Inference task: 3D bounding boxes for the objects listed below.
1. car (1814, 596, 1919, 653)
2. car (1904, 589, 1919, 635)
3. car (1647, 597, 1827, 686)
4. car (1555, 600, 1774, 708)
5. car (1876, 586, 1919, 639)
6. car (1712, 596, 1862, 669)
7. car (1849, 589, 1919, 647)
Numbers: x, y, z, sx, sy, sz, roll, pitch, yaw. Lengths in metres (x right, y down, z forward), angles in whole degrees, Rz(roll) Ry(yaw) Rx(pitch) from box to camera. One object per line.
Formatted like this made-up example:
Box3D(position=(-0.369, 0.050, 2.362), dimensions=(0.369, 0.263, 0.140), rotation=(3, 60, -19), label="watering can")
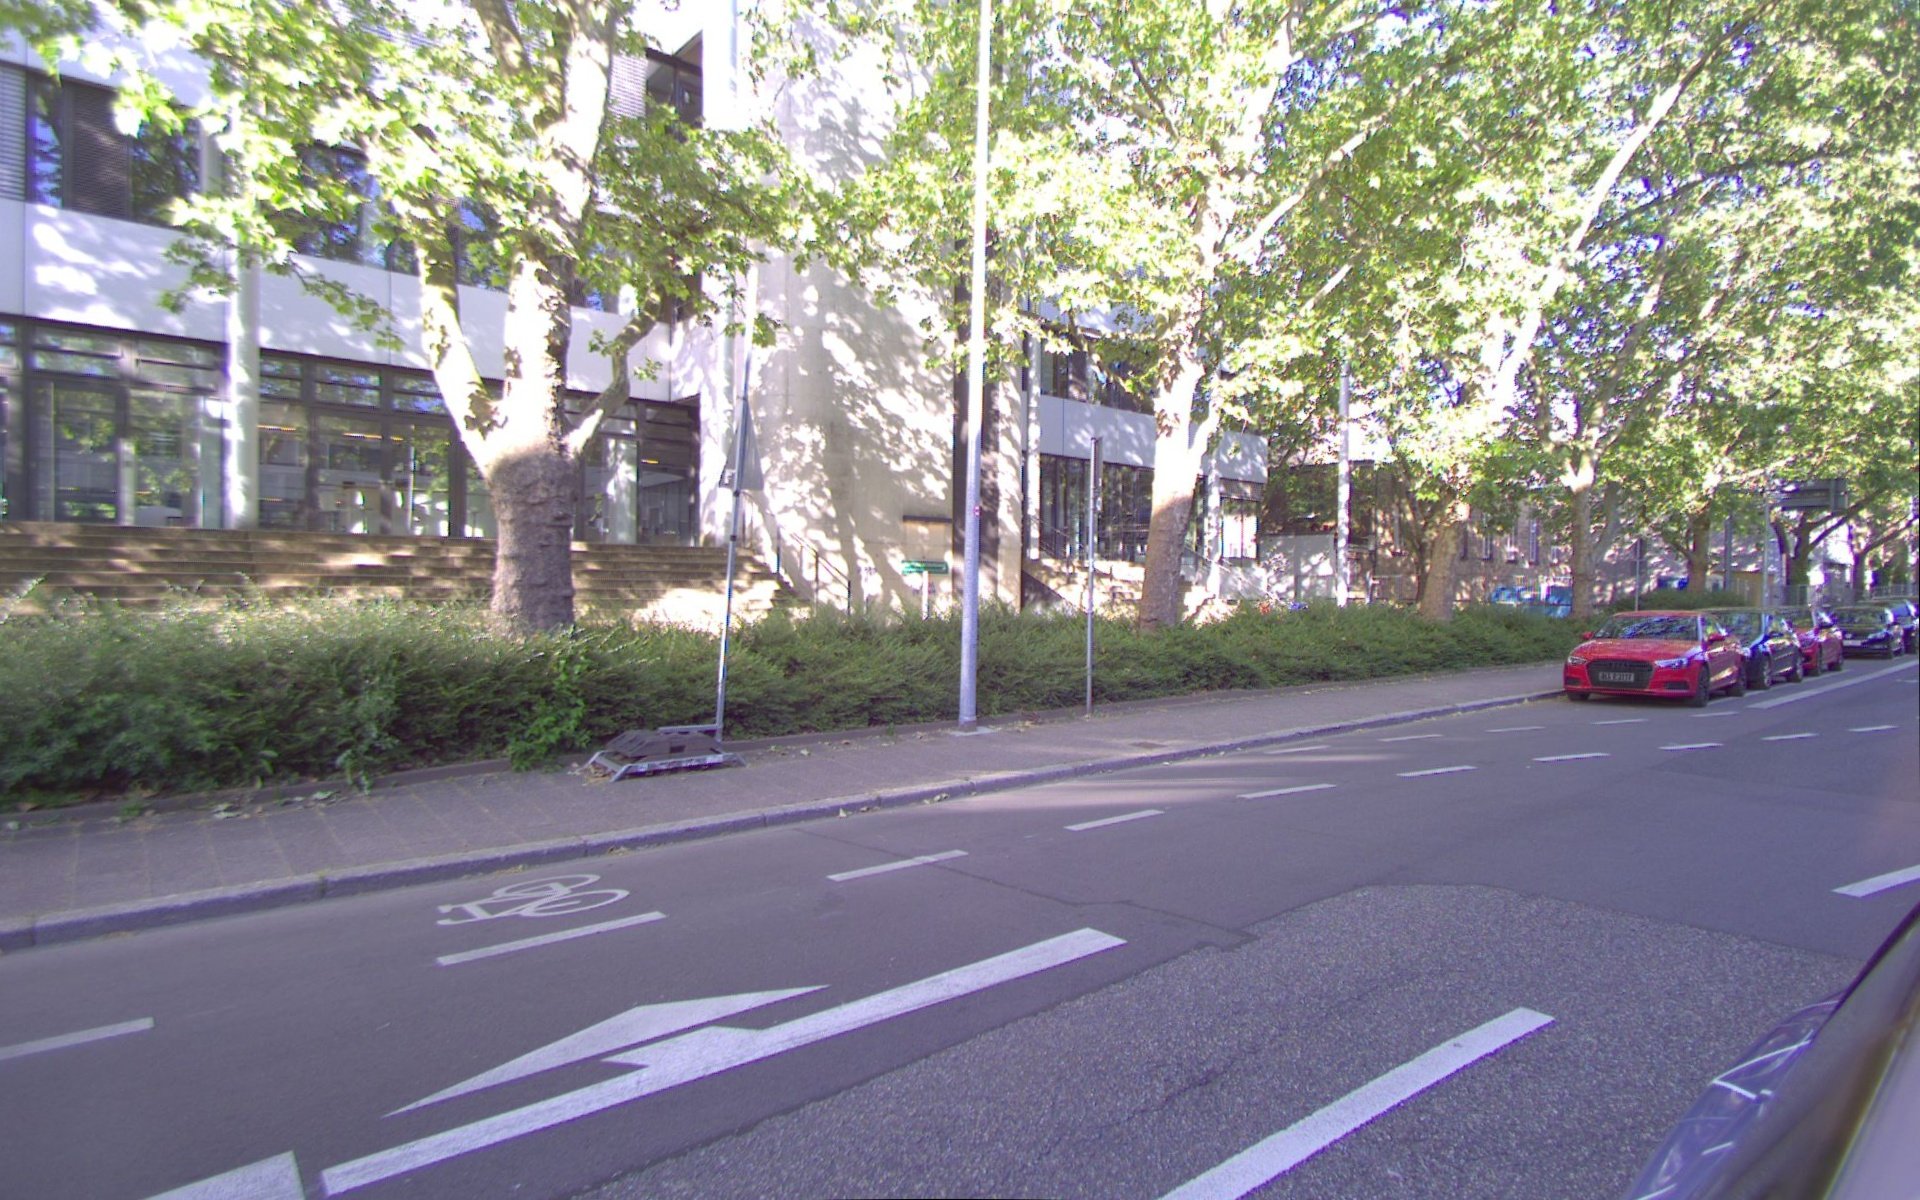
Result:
Box3D(position=(25.783, 0.625, 28.608), dimensions=(4.403, 1.469, 1.865), rotation=(0, 0, -41), label="car")
Box3D(position=(38.866, 0.448, 39.964), dimensions=(4.403, 1.781, 1.865), rotation=(0, 0, -41), label="car")
Box3D(position=(14.759, 0.696, 19.137), dimensions=(4.403, 1.469, 1.865), rotation=(0, 0, -41), label="car")
Box3D(position=(11.312, 0.742, 16.136), dimensions=(4.403, 1.469, 1.865), rotation=(0, 0, -41), label="car")
Box3D(position=(33.900, 0.399, 35.694), dimensions=(4.403, 1.781, 1.865), rotation=(0, 0, -41), label="car")
Box3D(position=(18.427, 0.640, 22.474), dimensions=(4.403, 1.469, 1.865), rotation=(0, 0, -41), label="car")
Box3D(position=(29.562, 0.518, 31.803), dimensions=(4.403, 1.689, 1.865), rotation=(0, 0, -41), label="car")
